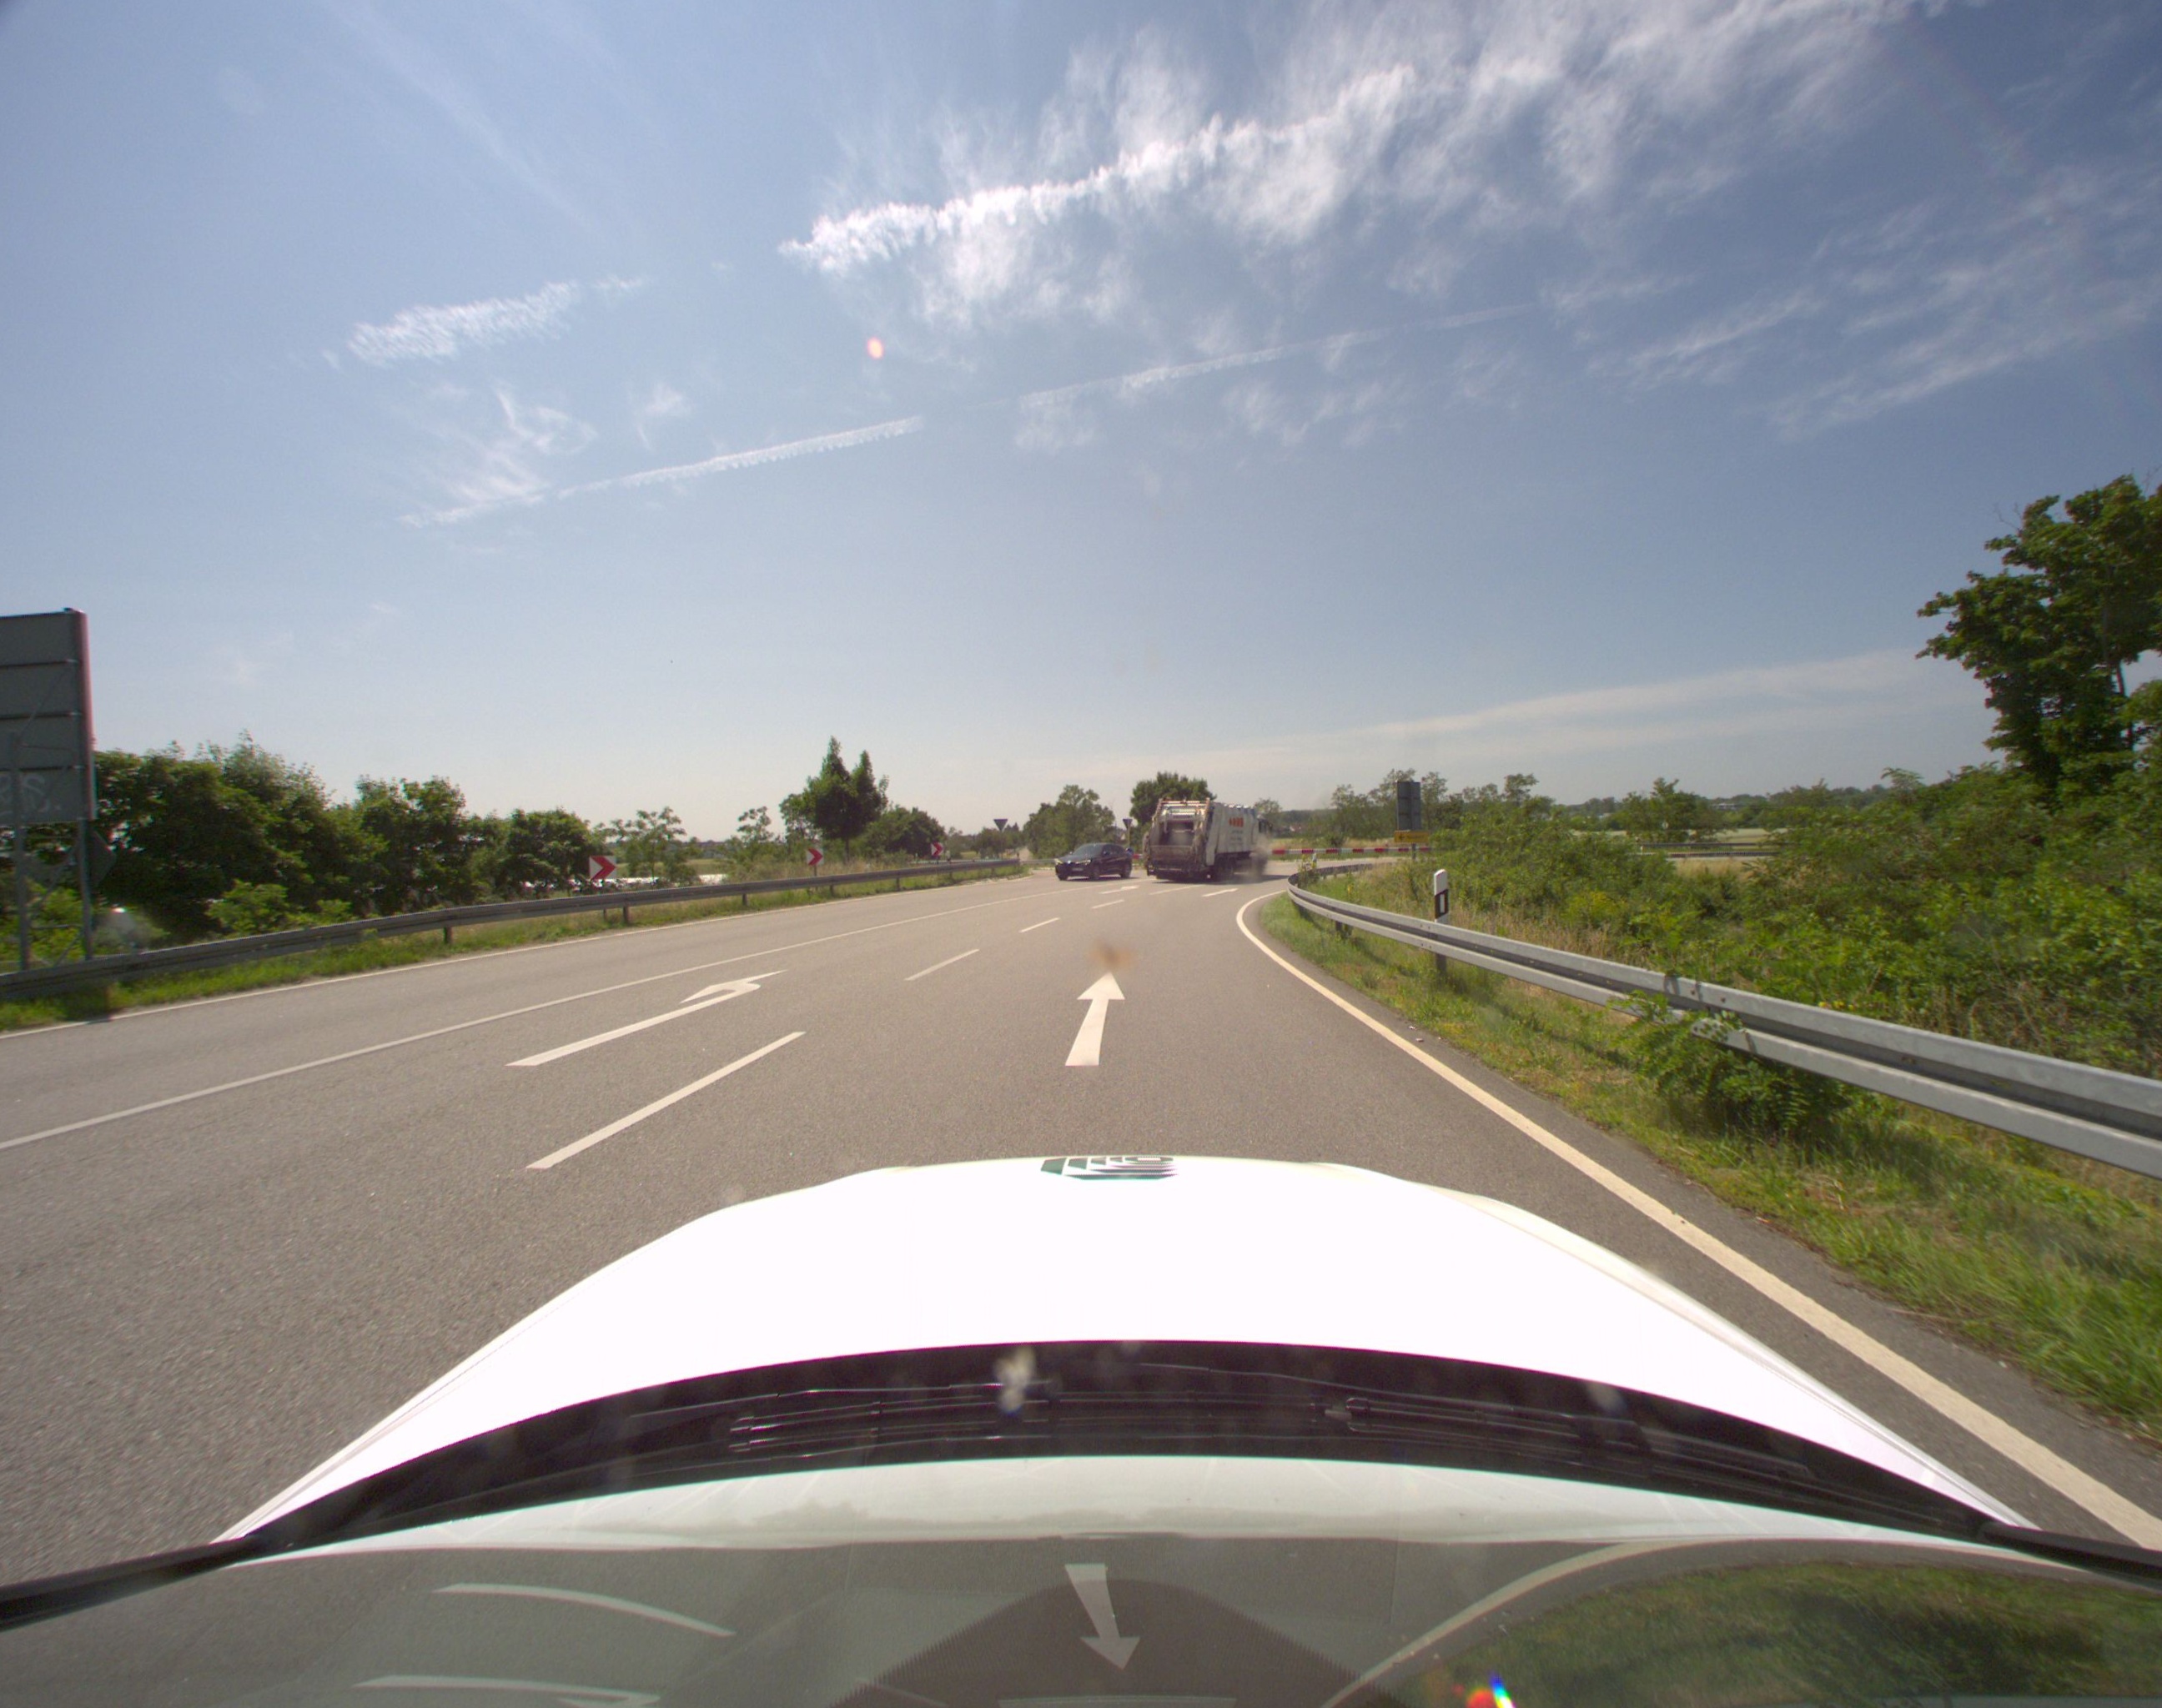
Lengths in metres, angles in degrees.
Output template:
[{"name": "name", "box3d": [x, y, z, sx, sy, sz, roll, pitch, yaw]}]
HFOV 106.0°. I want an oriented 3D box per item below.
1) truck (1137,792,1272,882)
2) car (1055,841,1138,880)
[{"name": "truck", "box3d": [6.135, -0.730, 38.349, 2.786, 3.669, 10.010, -1, 0, 30]}, {"name": "car", "box3d": [0.797, 0.234, 37.273, 1.695, 1.657, 4.597, 1, 1, 31]}]
